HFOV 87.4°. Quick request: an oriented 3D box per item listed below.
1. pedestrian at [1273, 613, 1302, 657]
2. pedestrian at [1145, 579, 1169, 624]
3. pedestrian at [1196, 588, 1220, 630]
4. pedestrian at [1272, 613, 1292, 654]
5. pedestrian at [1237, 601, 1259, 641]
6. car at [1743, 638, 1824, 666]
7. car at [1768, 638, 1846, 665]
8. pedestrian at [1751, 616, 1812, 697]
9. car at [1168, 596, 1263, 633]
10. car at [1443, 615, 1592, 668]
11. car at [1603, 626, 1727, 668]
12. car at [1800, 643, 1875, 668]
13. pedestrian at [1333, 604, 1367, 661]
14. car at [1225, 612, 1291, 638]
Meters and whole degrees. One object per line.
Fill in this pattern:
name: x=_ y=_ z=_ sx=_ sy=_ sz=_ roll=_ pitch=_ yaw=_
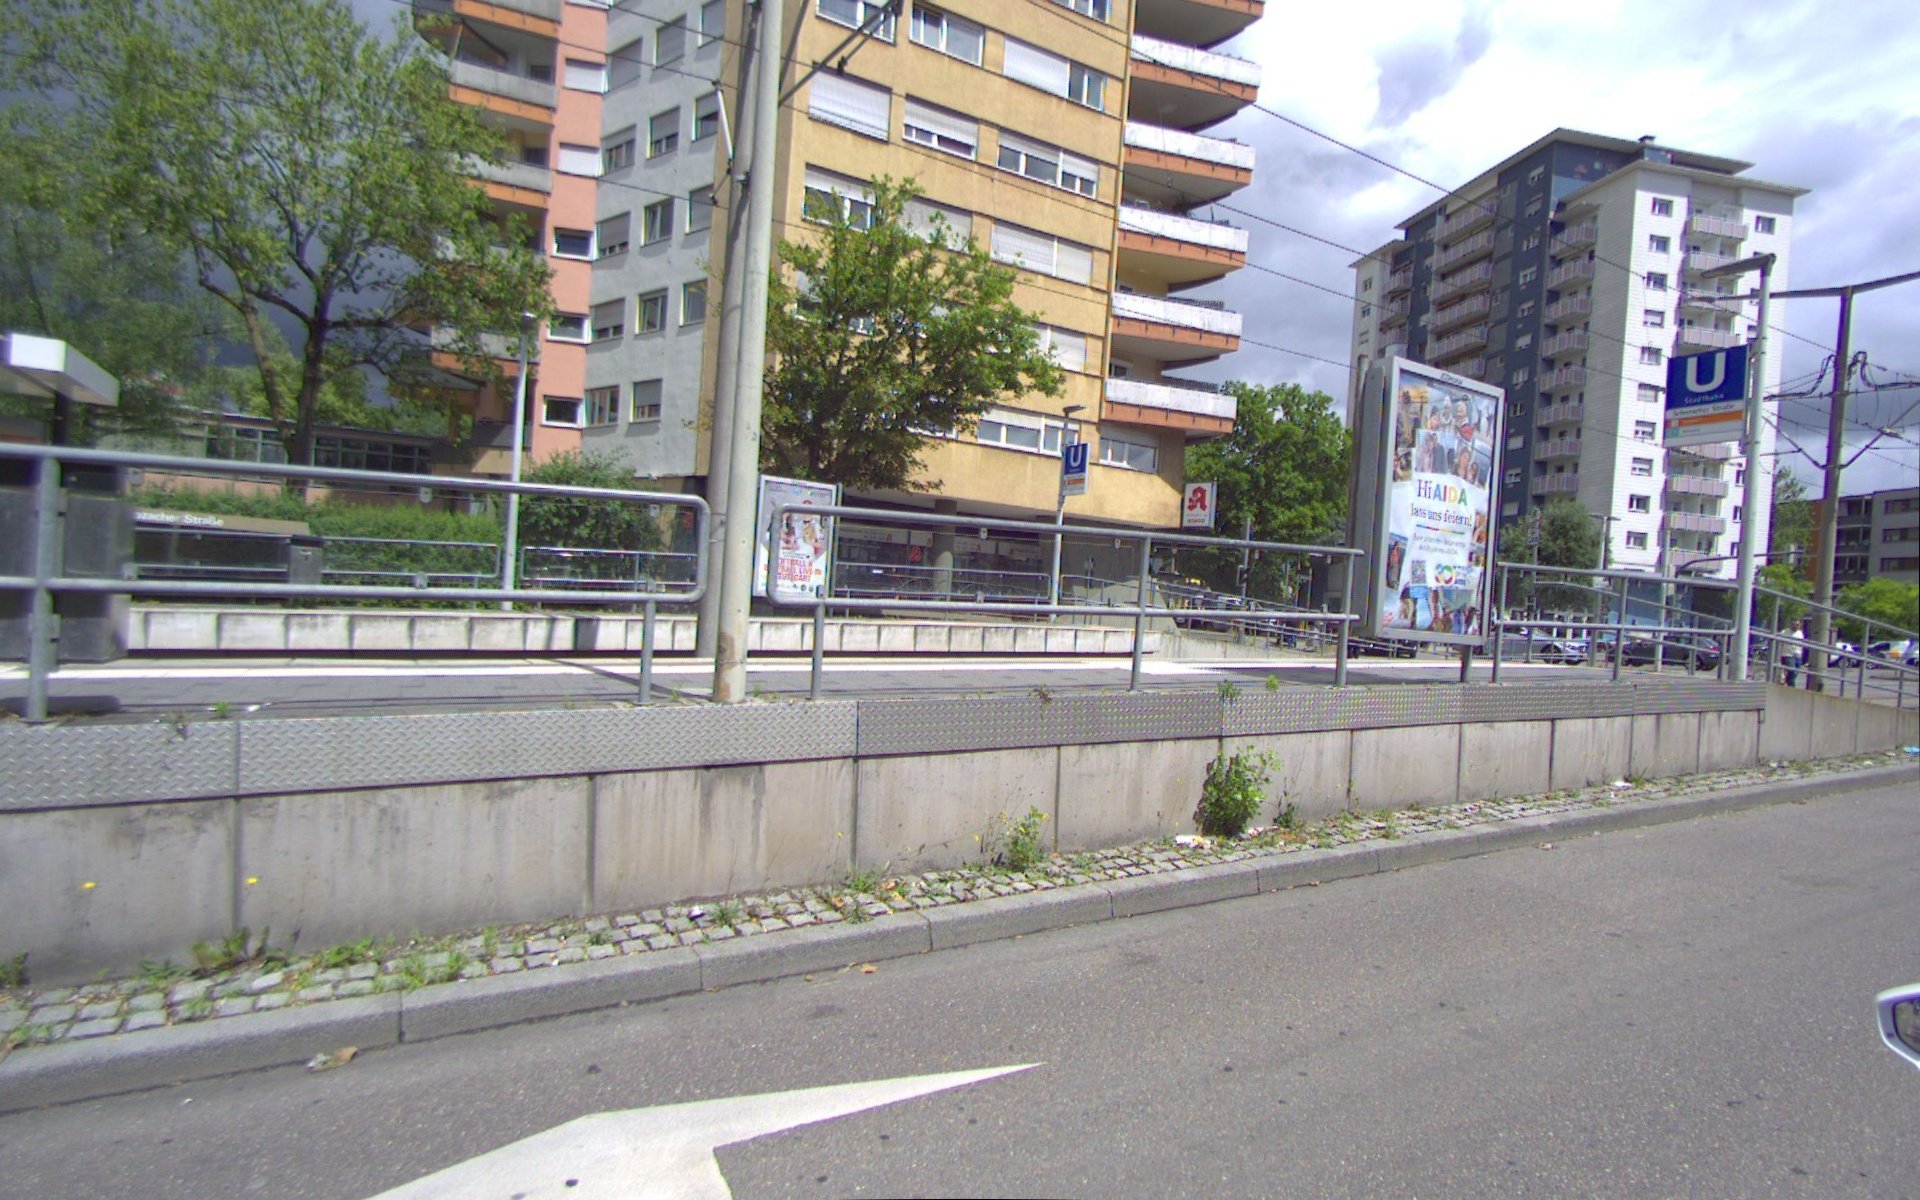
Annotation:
pedestrian: x=10.376 y=1.103 z=31.799 sx=0.677 sy=1.360 sz=0.859 roll=2 pitch=0 yaw=30
pedestrian: x=7.649 y=0.059 z=39.076 sx=0.669 sy=1.729 sz=0.826 roll=2 pitch=0 yaw=-6
pedestrian: x=9.814 y=0.355 z=39.763 sx=0.613 sy=1.599 sz=0.858 roll=2 pitch=0 yaw=33
pedestrian: x=11.000 y=1.132 z=34.313 sx=0.543 sy=1.360 sz=0.669 roll=2 pitch=0 yaw=12
pedestrian: x=11.871 y=0.857 z=41.402 sx=0.759 sy=1.604 sz=0.610 roll=2 pitch=0 yaw=21
car: x=50.570 y=3.175 z=61.722 sx=1.602 sy=1.482 sz=3.576 roll=2 pitch=-1 yaw=-37
car: x=54.139 y=3.265 z=64.225 sx=1.602 sy=1.482 sz=3.576 roll=2 pitch=-1 yaw=-37
pedestrian: x=18.213 y=1.234 z=22.297 sx=0.675 sy=1.719 sz=0.861 roll=2 pitch=0 yaw=10
car: x=12.755 y=0.718 z=50.408 sx=1.978 sy=1.716 sz=4.454 roll=2 pitch=0 yaw=-32
car: x=20.648 y=1.498 z=37.377 sx=1.980 sy=1.716 sz=4.450 roll=2 pitch=0 yaw=-35
car: x=29.667 y=1.942 z=42.339 sx=1.660 sy=1.546 sz=3.957 roll=2 pitch=0 yaw=-37
car: x=59.719 y=3.772 z=68.378 sx=1.602 sy=1.482 sz=3.576 roll=2 pitch=-1 yaw=-37
pedestrian: x=11.621 y=0.968 z=29.920 sx=0.633 sy=1.654 sz=0.695 roll=2 pitch=-1 yaw=-40
car: x=18.026 y=1.491 z=60.795 sx=1.602 sy=1.482 sz=3.576 roll=2 pitch=-1 yaw=-37
